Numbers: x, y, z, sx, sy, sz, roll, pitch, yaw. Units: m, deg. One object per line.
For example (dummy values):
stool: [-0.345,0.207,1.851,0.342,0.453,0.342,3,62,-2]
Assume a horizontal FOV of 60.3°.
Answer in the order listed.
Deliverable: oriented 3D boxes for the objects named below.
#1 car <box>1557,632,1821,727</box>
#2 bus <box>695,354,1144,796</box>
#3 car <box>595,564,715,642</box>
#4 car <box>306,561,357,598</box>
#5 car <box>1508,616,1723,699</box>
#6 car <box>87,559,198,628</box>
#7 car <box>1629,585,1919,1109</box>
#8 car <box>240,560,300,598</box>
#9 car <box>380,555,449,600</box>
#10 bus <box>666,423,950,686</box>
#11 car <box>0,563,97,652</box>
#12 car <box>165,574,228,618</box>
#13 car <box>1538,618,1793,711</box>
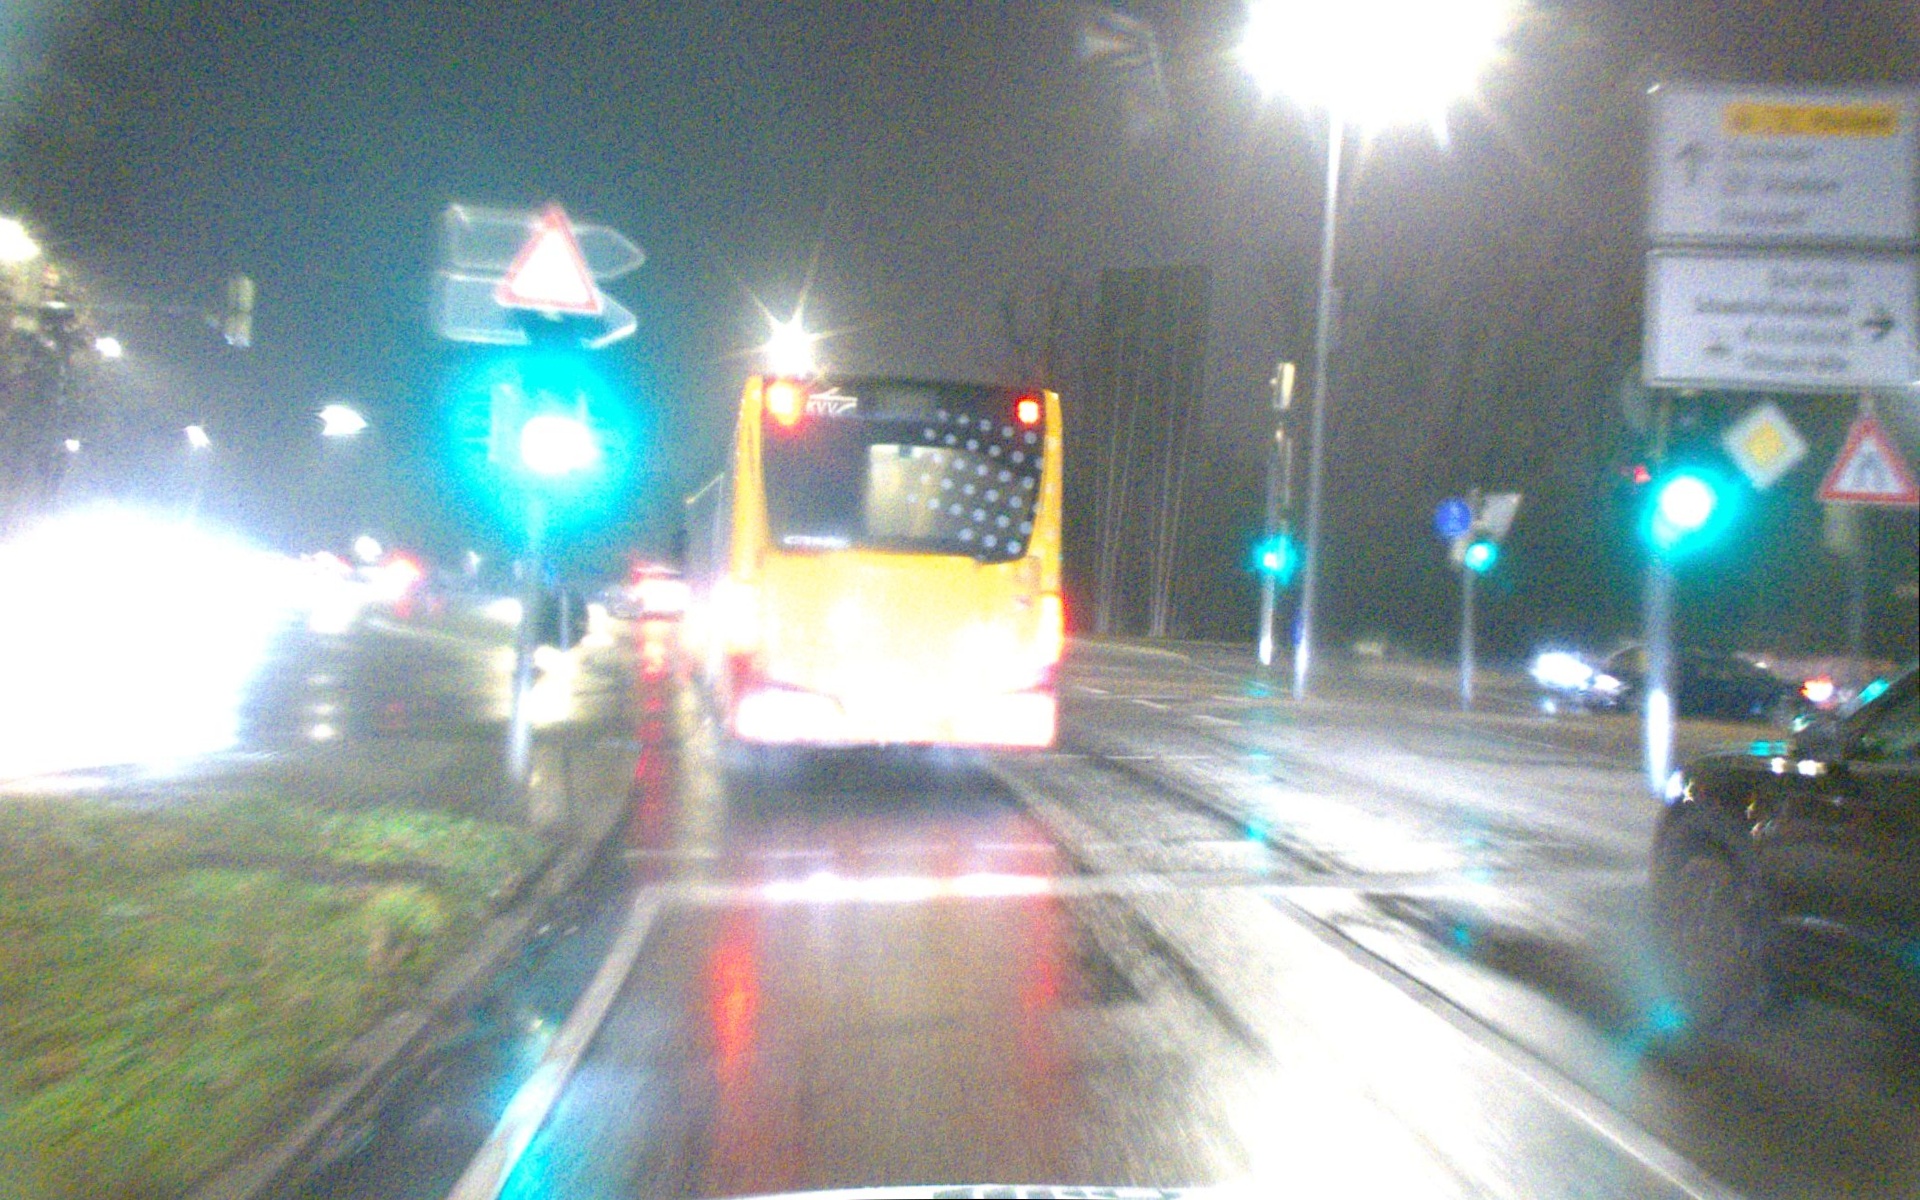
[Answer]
car: [13.118,1.409,29.906,3.962,1.369,1.746,3,1,-3]
bus: [-0.947,-0.361,16.591,3.224,3.103,9.528,0,2,-8]
car: [-8.850,0.059,47.724,1.973,2.049,4.303,4,-1,-31]
car: [-30.546,-0.967,80.323,1.795,1.646,3.964,4,-1,-28]
car: [14.810,1.279,37.497,4.081,1.545,1.856,3,1,-3]
car: [-19.977,-0.161,40.569,1.753,1.485,4.453,4,-1,-19]
car: [3.704,0.773,4.756,1.644,1.548,3.956,3,-1,-5]
car: [-36.880,-1.129,88.361,2.073,1.672,3.684,7,-2,-36]
car: [-22.075,-0.904,66.880,1.797,1.646,3.959,4,-1,-30]
bus: [-2.687,-0.675,25.607,3.191,3.174,8.619,4,1,-12]
car: [-16.900,0.146,29.632,1.761,1.482,4.554,0,-1,-17]
car: [-25.795,-0.145,55.978,1.782,1.377,4.113,3,-1,-23]
car: [14.424,1.308,33.966,4.394,1.545,1.856,3,1,-3]
